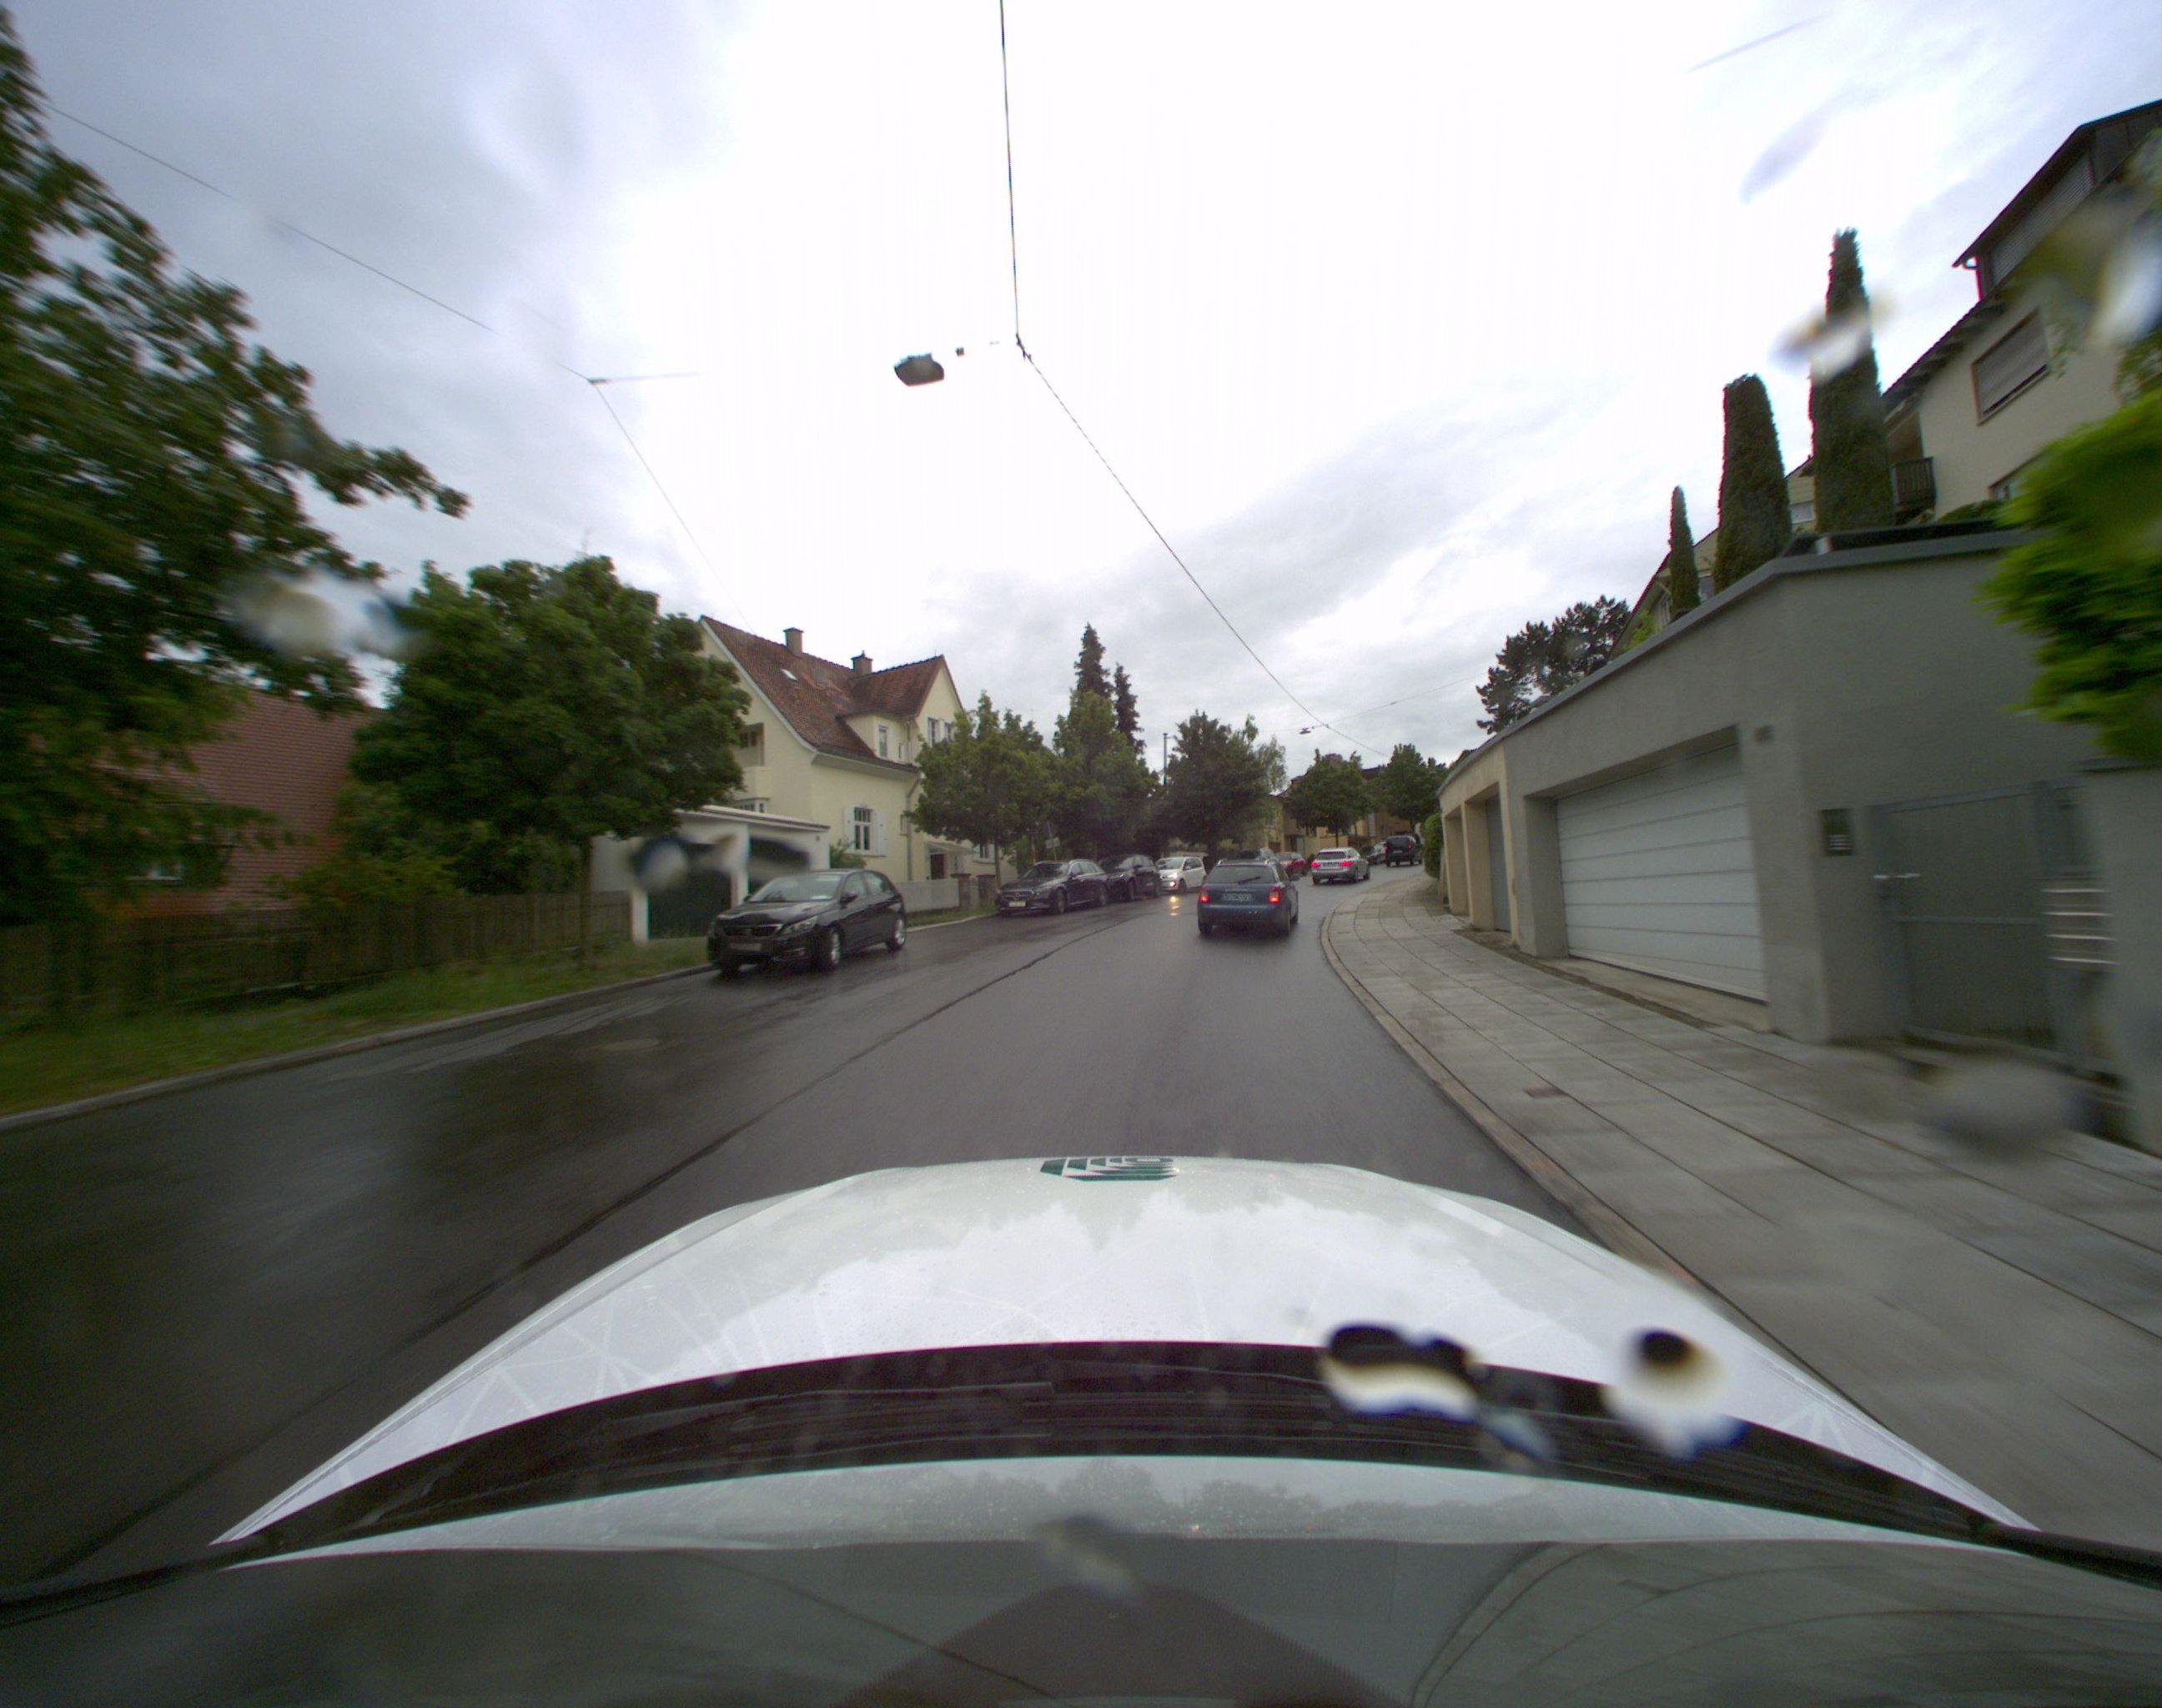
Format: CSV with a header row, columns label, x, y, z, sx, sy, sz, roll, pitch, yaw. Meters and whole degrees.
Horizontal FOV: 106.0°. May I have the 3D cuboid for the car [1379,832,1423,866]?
label,x,y,z,sx,sy,sz,roll,pitch,yaw
car,19.755,-0.329,50.163,1.716,1.768,4.263,-3,2,32

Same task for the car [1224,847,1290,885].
label,x,y,z,sx,sy,sz,roll,pitch,yaw
car,8.987,0.560,41.369,1.783,1.669,4.454,-5,-2,31

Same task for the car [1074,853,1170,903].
label,x,y,z,sx,sy,sz,roll,pitch,yaw
car,1.536,0.794,28.577,1.717,1.545,4.235,-3,-1,27

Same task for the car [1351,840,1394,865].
label,x,y,z,sx,sy,sz,roll,pitch,yaw
car,21.698,-0.112,60.539,1.751,1.535,4.635,-7,-2,34

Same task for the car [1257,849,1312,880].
label,x,y,z,sx,sy,sz,roll,pitch,yaw
car,11.303,0.552,45.135,1.665,1.472,3.890,-6,-2,33

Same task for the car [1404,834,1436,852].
label,x,y,z,sx,sy,sz,roll,pitch,yaw
car,33.099,-1.068,79.414,1.751,1.436,4.375,-7,-2,37

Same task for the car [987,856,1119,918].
label,x,y,z,sx,sy,sz,roll,pitch,yaw
car,-0.674,0.909,24.046,1.850,1.545,4.933,-3,-1,24

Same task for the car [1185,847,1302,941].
label,x,y,z,sx,sy,sz,roll,pitch,yaw
car,3.446,0.731,16.681,1.719,1.466,4.021,-3,2,19

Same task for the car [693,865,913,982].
label,x,y,z,sx,sy,sz,roll,pitch,yaw
car,-4.168,0.969,12.923,1.661,1.466,3.903,-4,-1,7

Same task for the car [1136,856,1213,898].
label,x,y,z,sx,sy,sz,roll,pitch,yaw
car,3.865,0.889,33.091,1.717,1.466,4.024,-3,0,27

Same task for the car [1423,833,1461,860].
label,x,y,z,sx,sy,sz,roll,pitch,yaw
car,27.545,-0.564,62.070,1.716,1.768,4.263,-3,2,36

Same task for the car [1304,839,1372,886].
label,x,y,z,sx,sy,sz,roll,pitch,yaw
car,11.013,0.308,34.662,1.957,1.635,4.262,-3,2,28
